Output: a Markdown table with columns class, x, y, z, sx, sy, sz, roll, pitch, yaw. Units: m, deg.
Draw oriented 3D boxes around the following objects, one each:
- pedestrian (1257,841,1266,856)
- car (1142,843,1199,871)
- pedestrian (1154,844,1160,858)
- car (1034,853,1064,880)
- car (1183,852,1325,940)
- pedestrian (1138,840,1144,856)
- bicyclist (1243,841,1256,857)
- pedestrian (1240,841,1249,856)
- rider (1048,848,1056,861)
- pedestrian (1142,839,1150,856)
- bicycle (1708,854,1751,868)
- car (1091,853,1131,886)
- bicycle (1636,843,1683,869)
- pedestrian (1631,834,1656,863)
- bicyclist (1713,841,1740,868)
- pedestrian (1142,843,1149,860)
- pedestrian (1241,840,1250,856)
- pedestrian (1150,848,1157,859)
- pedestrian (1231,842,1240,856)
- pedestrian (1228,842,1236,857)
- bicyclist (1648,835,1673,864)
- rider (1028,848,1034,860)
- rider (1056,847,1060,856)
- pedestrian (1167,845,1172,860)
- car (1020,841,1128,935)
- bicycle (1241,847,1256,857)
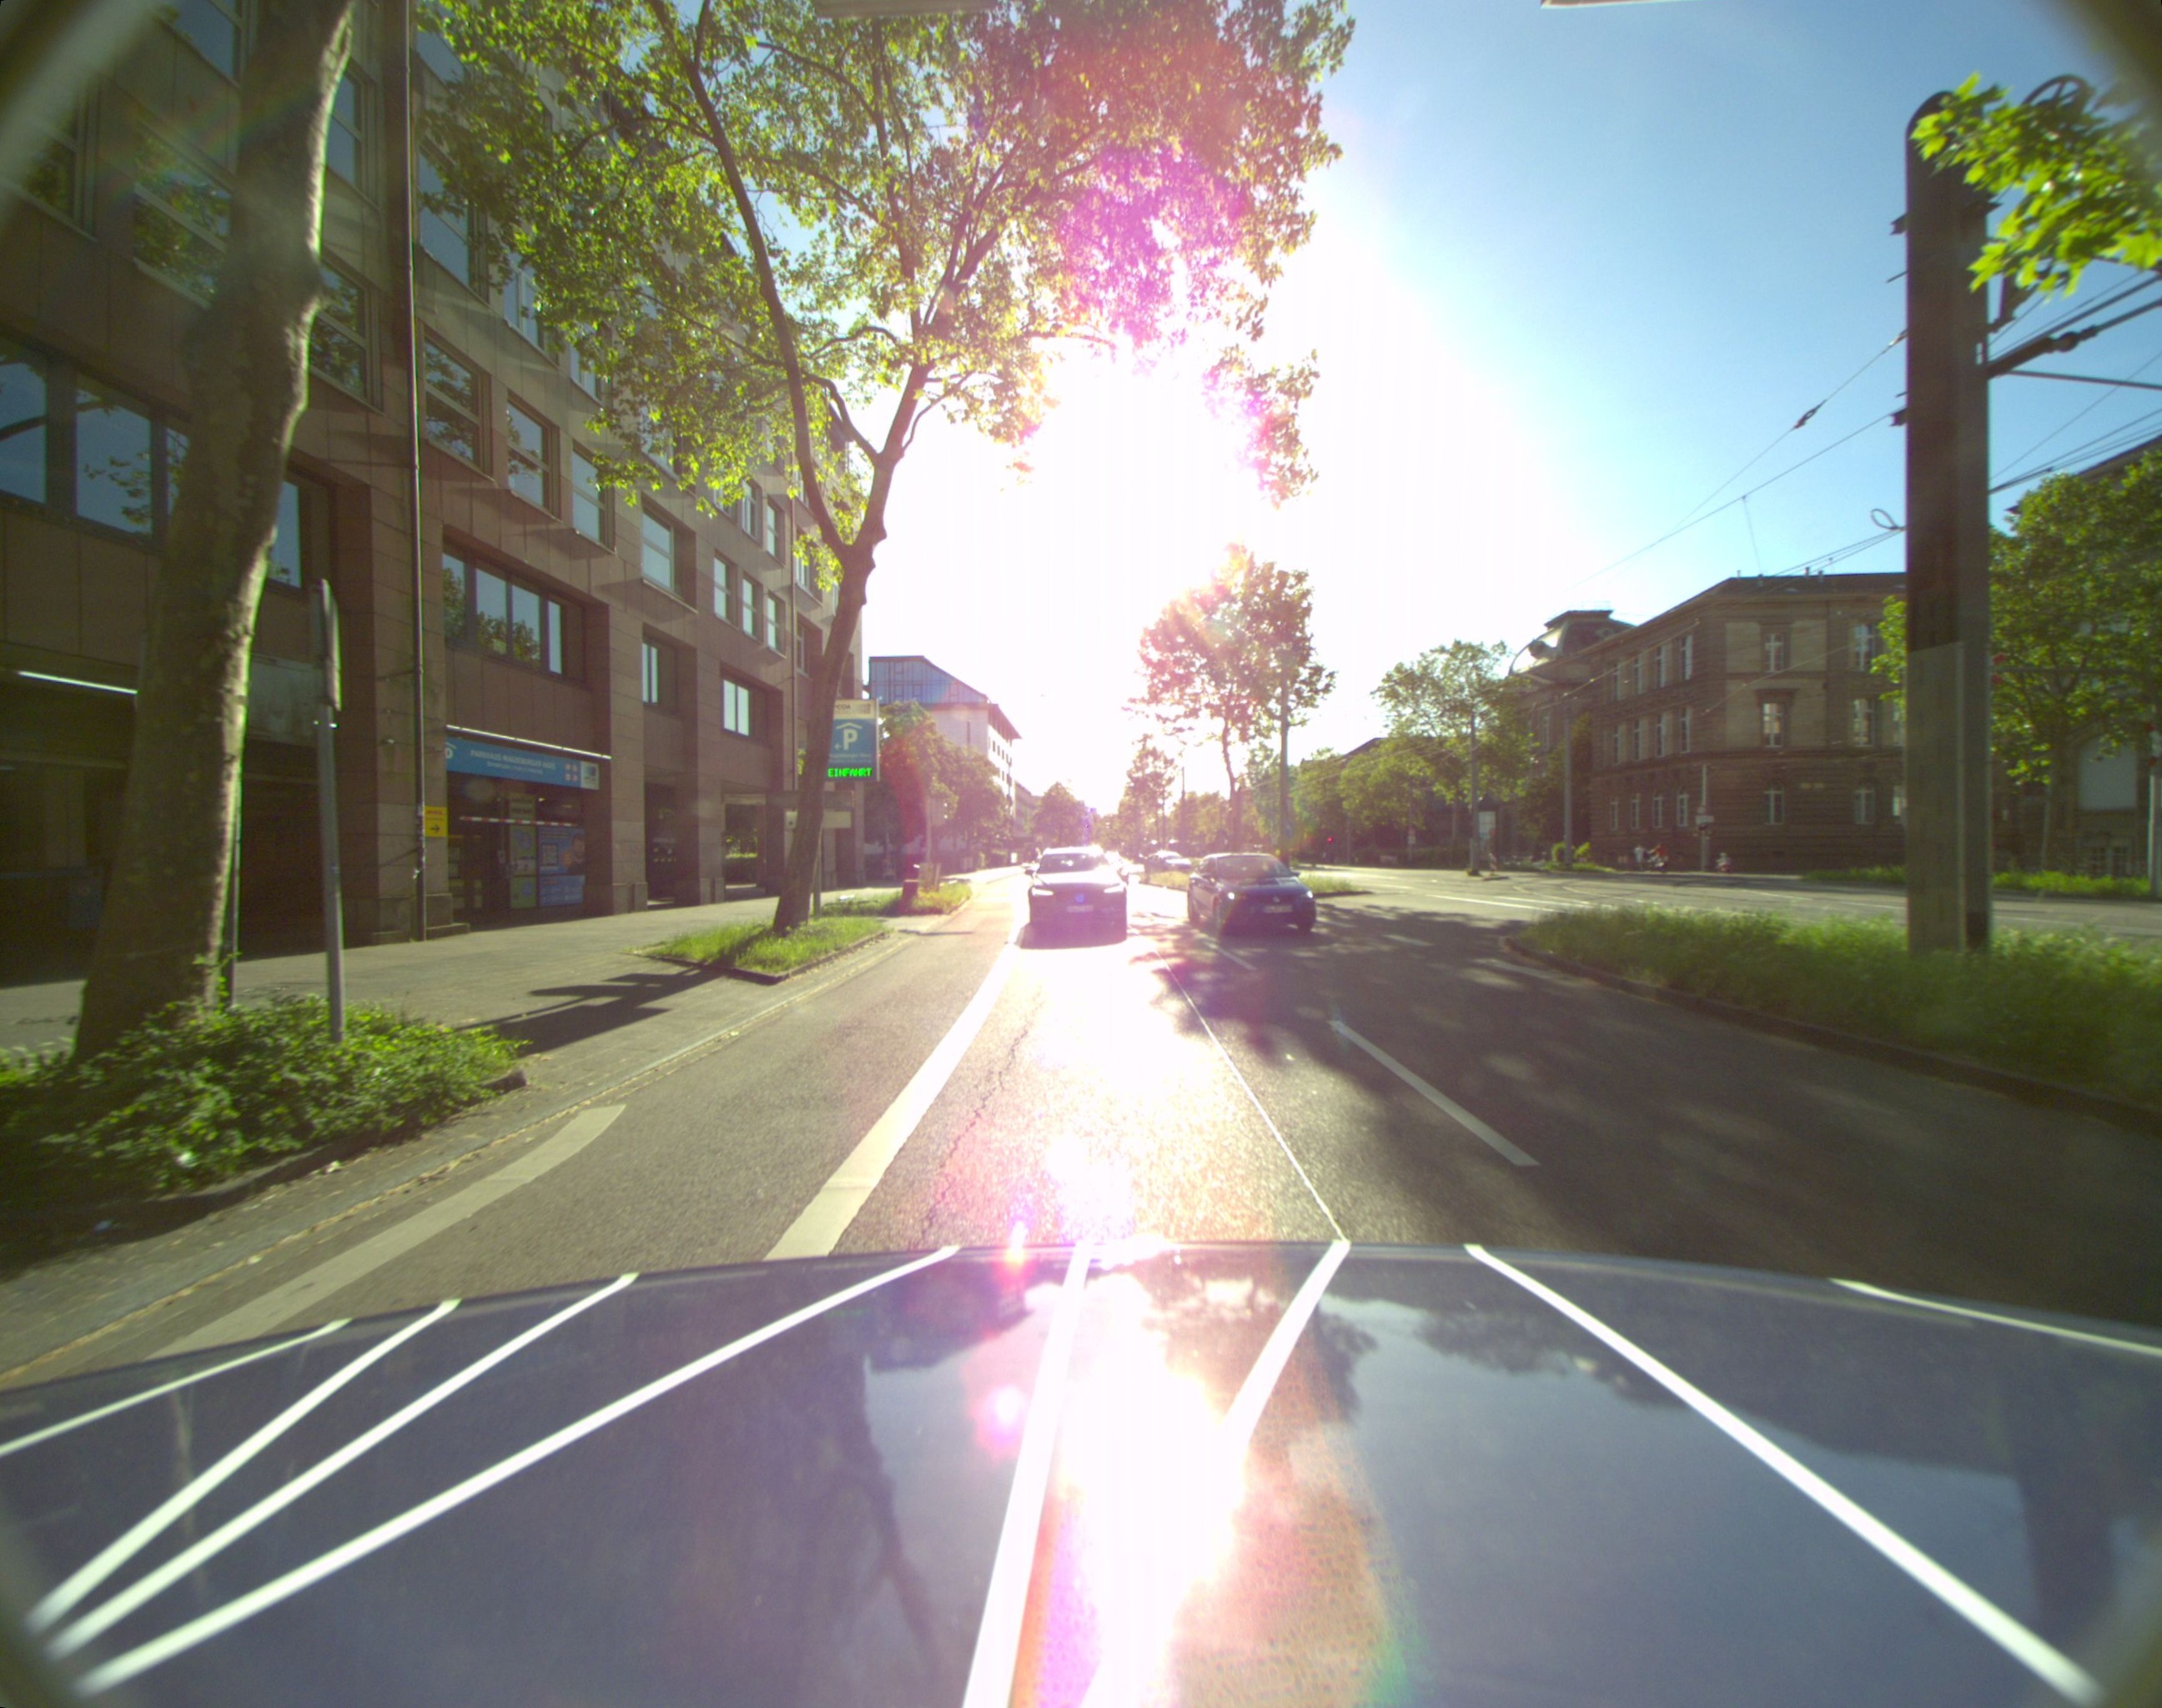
| class | x | y | z | sx | sy | sz | roll | pitch | yaw |
| --- | --- | --- | --- | --- | --- | --- | --- | --- | --- |
| pedestrian | 19.814 | -0.652 | 83.284 | 0.595 | 1.612 | 0.698 | -3 | 1 | -30 |
| car | 5.412 | 0.204 | 46.369 | 1.669 | 1.586 | 3.855 | -3 | 1 | -25 |
| pedestrian | 9.277 | -0.400 | 92.435 | 0.580 | 1.652 | 0.667 | -2 | 1 | 11 |
| car | -1.833 | 0.702 | 44.336 | 1.605 | 1.387 | 3.999 | -3 | 1 | -1 |
| car | 3.212 | 0.716 | 14.862 | 1.778 | 1.440 | 3.868 | -1 | 0 | -2 |
| pedestrian | 7.922 | -0.820 | 100.744 | 0.711 | 2.002 | 0.787 | -3 | 1 | 4 |
| bicyclist | 18.198 | -0.540 | 81.983 | 0.970 | 1.634 | 0.833 | -3 | 1 | -30 |
| pedestrian | 18.178 | -0.586 | 84.326 | 0.595 | 1.634 | 0.698 | -4 | 1 | -34 |
| rider | -3.941 | 0.046 | 103.420 | 0.924 | 1.668 | 0.977 | -3 | 1 | 3 |
| pedestrian | 8.372 | -0.797 | 97.504 | 0.785 | 2.175 | 0.801 | -2 | 1 | 23 |
| bicycle | 35.017 | 0.382 | 41.043 | 0.526 | 0.718 | 1.900 | -3 | 1 | -7 |
| car | 1.487 | 0.729 | 37.504 | 1.798 | 1.420 | 4.000 | -3 | 1 | 2 |
| bicycle | 33.088 | 0.102 | 43.493 | 0.526 | 1.381 | 2.348 | -3 | 1 | -11 |
| pedestrian | 36.117 | -0.349 | 48.800 | 0.864 | 1.790 | 1.002 | -3 | 1 | 4 |
| bicyclist | 35.001 | 0.017 | 41.218 | 0.797 | 1.453 | 0.729 | -3 | 1 | -9 |
| pedestrian | 6.970 | -0.226 | 82.006 | 0.647 | 1.796 | 0.504 | -3 | 1 | -8 |
| pedestrian | 18.515 | -0.639 | 85.569 | 0.595 | 1.726 | 0.698 | -3 | 1 | -30 |
| pedestrian | 7.666 | -0.058 | 80.551 | 0.594 | 1.226 | 0.425 | -3 | 1 | -8 |
| pedestrian | 17.516 | -0.562 | 86.136 | 0.595 | 1.667 | 0.698 | -2 | 1 | -30 |
| pedestrian | 17.410 | -0.516 | 87.521 | 0.595 | 1.735 | 0.698 | -3 | 1 | -30 |
| bicyclist | 33.124 | -0.237 | 43.440 | 0.676 | 1.615 | 0.870 | -2 | 1 | -10 |
| rider | -6.731 | -0.001 | 103.001 | 0.779 | 1.582 | 0.789 | 0 | 1 | -1 |
| rider | -4.534 | -0.455 | 148.341 | 0.759 | 1.717 | 0.895 | -3 | 1 | 1 |
| pedestrian | 9.945 | -0.216 | 85.502 | 0.544 | 1.652 | 0.730 | -3 | 1 | 7 |
| car | -0.085 | 0.599 | 16.585 | 1.949 | 1.690 | 5.306 | -1 | 0 | 1 |
| bicycle | 18.119 | -0.200 | 82.301 | 1.666 | 1.036 | 0.543 | -3 | 2 | -29 |
